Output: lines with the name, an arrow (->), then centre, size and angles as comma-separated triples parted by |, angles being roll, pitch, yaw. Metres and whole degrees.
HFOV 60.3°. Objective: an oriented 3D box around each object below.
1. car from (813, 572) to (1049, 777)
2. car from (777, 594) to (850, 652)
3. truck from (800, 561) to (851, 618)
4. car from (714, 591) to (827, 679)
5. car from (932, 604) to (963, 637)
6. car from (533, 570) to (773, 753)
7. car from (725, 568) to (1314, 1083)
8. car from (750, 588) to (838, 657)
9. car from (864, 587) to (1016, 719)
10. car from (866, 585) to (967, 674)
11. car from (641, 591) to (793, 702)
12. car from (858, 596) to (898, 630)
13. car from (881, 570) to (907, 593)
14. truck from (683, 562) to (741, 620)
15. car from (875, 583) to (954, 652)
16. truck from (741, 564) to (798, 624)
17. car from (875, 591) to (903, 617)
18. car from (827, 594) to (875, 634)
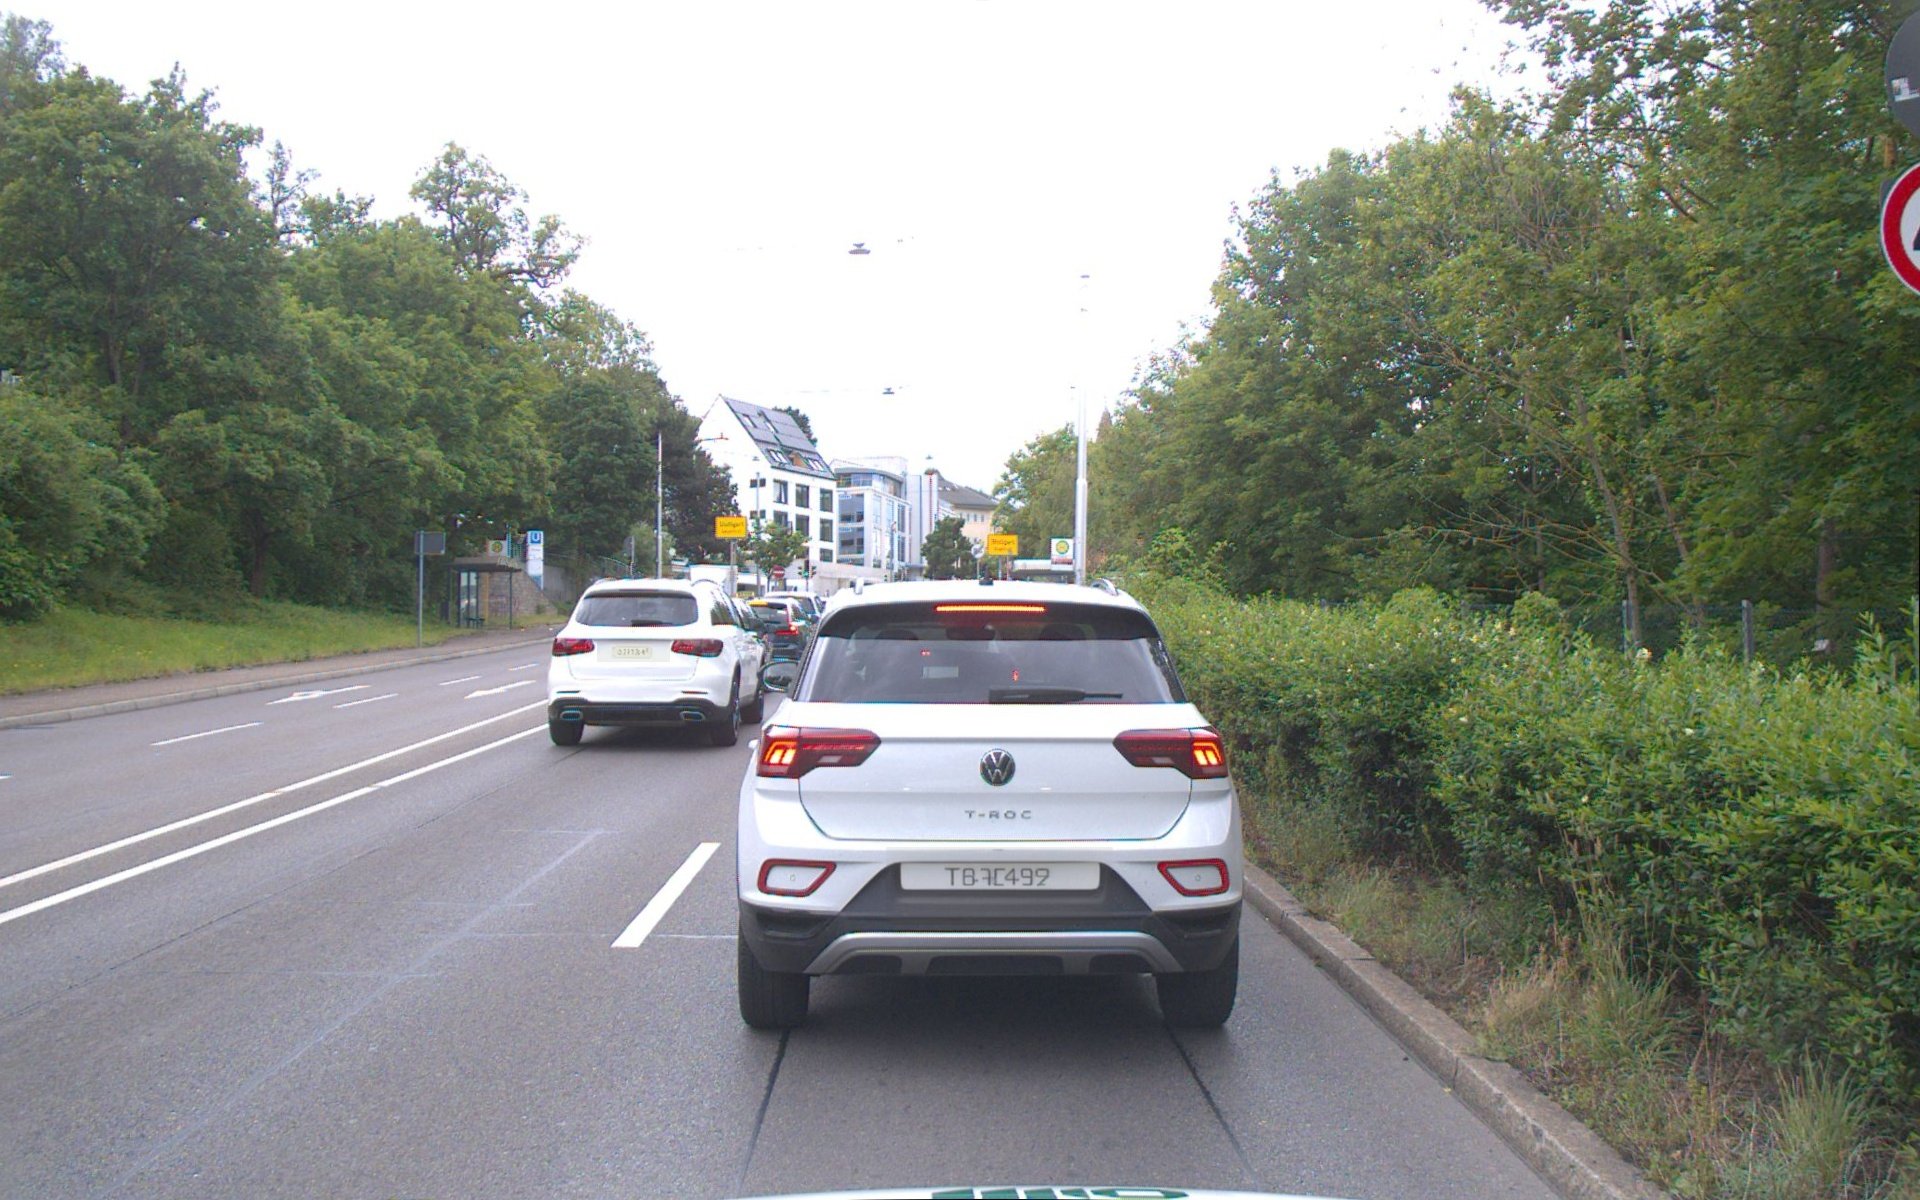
car -> -0.280, 0.566, 14.733 | 1.792, 1.552, 3.999 | -1, 0, -2
car -> -4.090, 0.623, 46.775 | 1.792, 1.552, 3.999 | -1, 0, -2
truck -> -6.909, -0.547, 85.370 | 2.315, 2.830, 4.476 | -1, 0, -2
car -> -3.558, 0.627, 31.624 | 1.792, 1.552, 3.999 | -1, 0, -2
car -> -0.806, 1.323, 107.057 | 1.953, 2.049, 3.999 | -1, -1, 0
car -> -3.107, 0.575, 17.536 | 1.879, 1.698, 3.999 | 1, 0, -2
car -> 0.130, 0.675, 7.033 | 1.792, 1.552, 3.999 | 0, 0, -2
car -> -3.939, 0.513, 39.678 | 1.792, 1.552, 3.999 | -1, 0, -2
car -> -0.296, 0.630, 21.767 | 1.792, 1.552, 3.999 | -1, 0, -2
car -> -0.835, 0.523, 31.622 | 1.792, 1.552, 3.999 | -1, 0, -2
car -> -3.596, 0.639, 25.104 | 1.792, 1.523, 3.999 | -1, 0, -2
car -> -3.923, 0.598, 79.496 | 1.792, 1.552, 3.999 | -1, 0, -2
car -> -4.659, -1.280, 116.948 | 1.792, 1.552, 3.999 | -1, 0, -2
truck -> -14.049, -0.498, 94.130 | 2.246, 3.104, 6.978 | -1, 0, 0
car -> -1.099, 0.404, 39.886 | 1.792, 1.552, 3.999 | -1, 0, -2
truck -> -9.283, -0.297, 80.743 | 2.315, 2.754, 4.476 | -1, 0, -2
car -> -4.682, 0.252, 109.167 | 1.778, 1.685, 3.927 | -2, 0, -2
car -> -4.467, 0.559, 68.313 | 1.792, 1.552, 3.999 | -1, 0, -2
